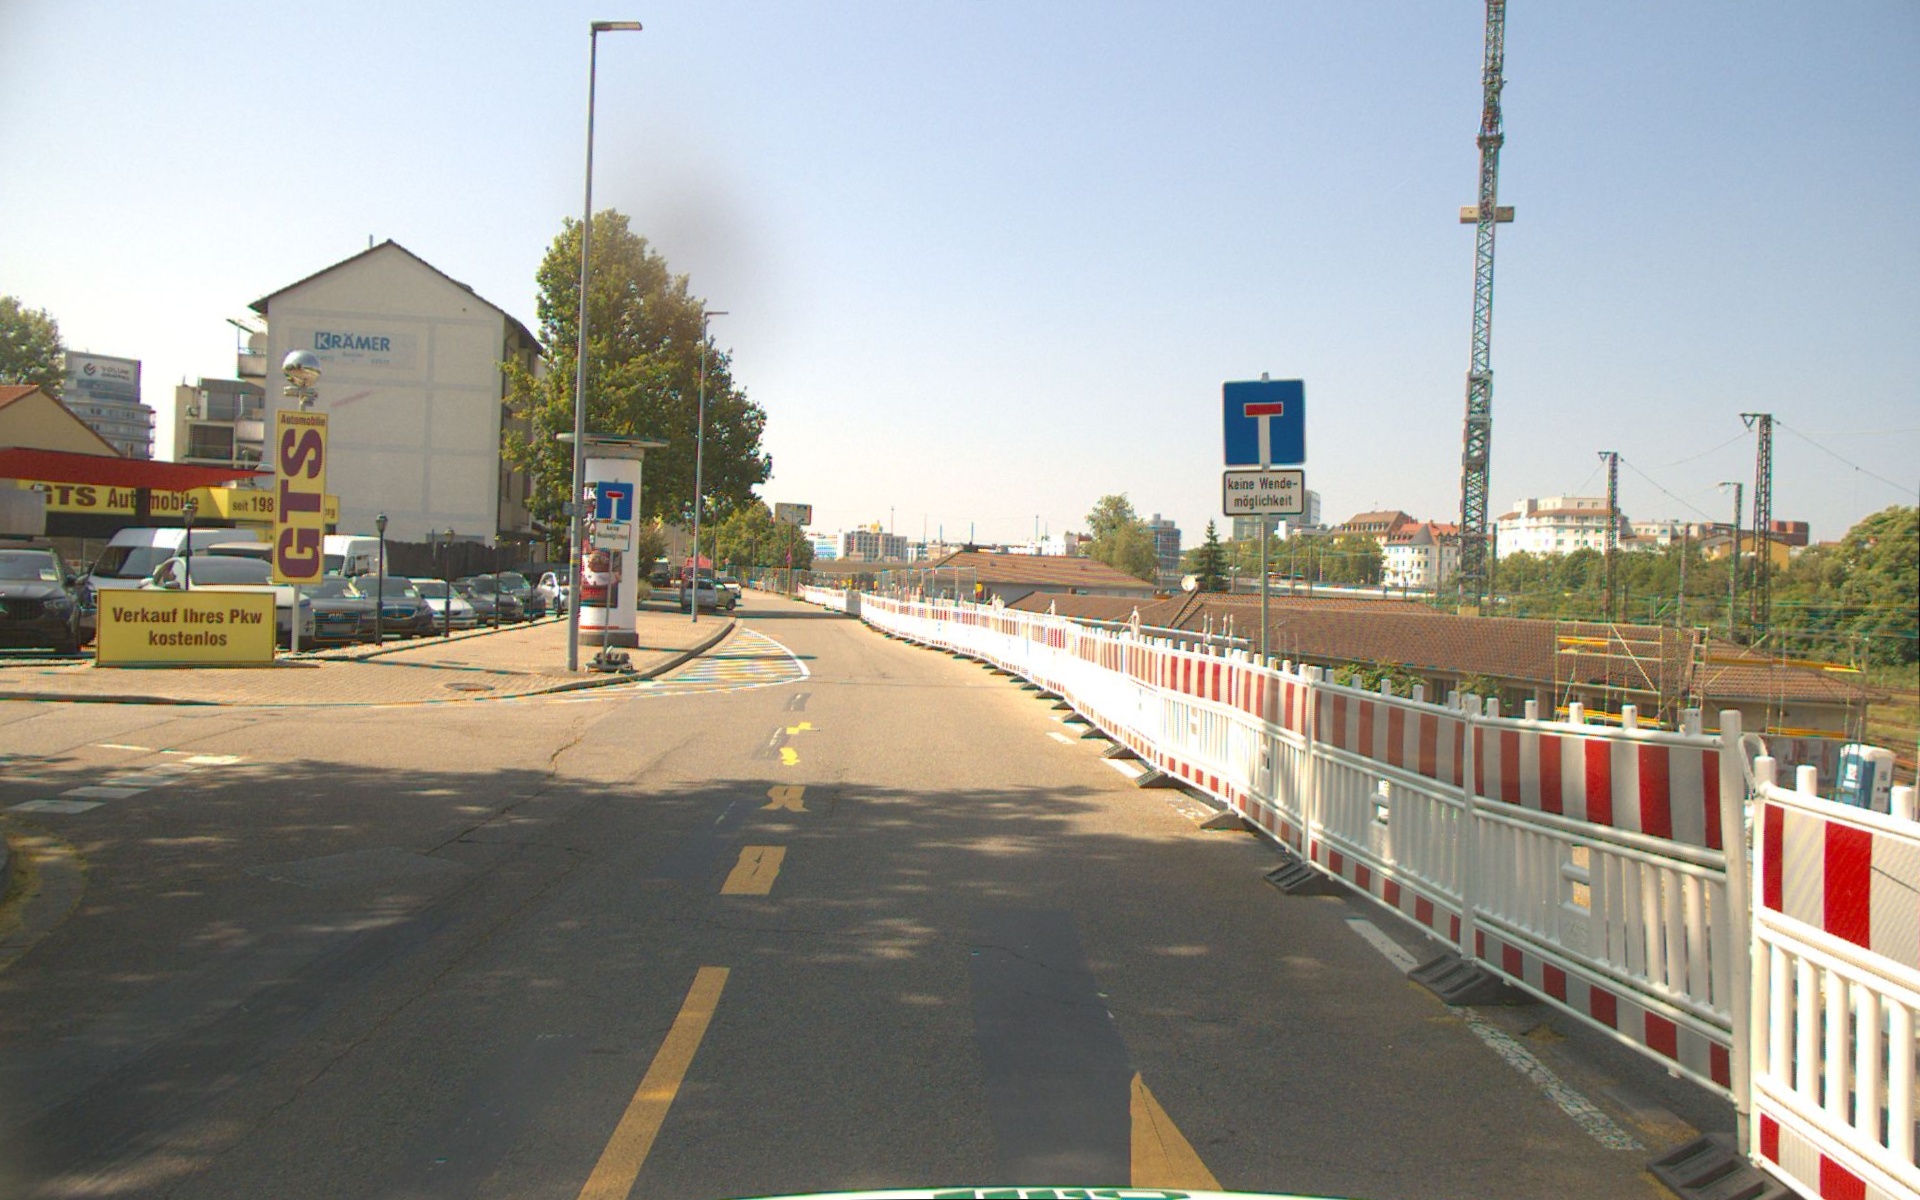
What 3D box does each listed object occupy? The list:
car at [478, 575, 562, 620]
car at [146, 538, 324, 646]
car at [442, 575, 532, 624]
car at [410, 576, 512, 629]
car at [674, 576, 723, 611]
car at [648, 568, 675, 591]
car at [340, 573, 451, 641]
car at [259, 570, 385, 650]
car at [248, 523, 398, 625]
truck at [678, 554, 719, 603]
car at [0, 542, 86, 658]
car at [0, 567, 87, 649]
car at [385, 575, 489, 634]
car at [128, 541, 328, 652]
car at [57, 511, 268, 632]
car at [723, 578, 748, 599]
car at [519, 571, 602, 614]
[{"bbox_3d":[-15.434,-0.110,57.893,1.652,1.498,3.952,-1,1,-34],"label":"car"},{"bbox_3d":[-17.212,-0.150,39.581,2.201,2.391,4.821,1,-1,-2],"label":"car"},{"bbox_3d":[-15.244,-0.047,53.208,1.652,1.498,3.953,-1,1,-34],"label":"car"},{"bbox_3d":[-14.726,0.044,48.681,1.654,1.498,3.948,-1,1,-36],"label":"car"},{"bbox_3d":[-12.198,-0.312,77.233,1.832,1.524,4.029,1,1,-3],"label":"car"},{"bbox_3d":[-27.512,-1.893,152.628,1.899,1.866,3.920,5,-1,-4],"label":"car"},{"bbox_3d":[-13.443,0.133,39.275,1.816,1.498,3.961,-1,1,-29],"label":"car"},{"bbox_3d":[-12.978,0.162,33.522,1.816,1.498,3.961,-1,1,-29],"label":"car"},{"bbox_3d":[-17.557,-0.644,45.926,2.203,2.472,5.712,5,-1,-5],"label":"car"},{"bbox_3d":[-15.211,-1.209,96.421,2.196,2.694,5.671,2,0,-8],"label":"truck"},{"bbox_3d":[-15.280,0.018,26.705,2.020,1.737,4.274,1,-1,-28],"label":"car"},{"bbox_3d":[-19.952,0.140,33.276,1.868,1.602,4.691,2,1,7],"label":"car"},{"bbox_3d":[-14.104,0.103,44.504,1.762,1.498,3.957,-1,1,-32],"label":"car"},{"bbox_3d":[-12.766,-0.009,28.704,1.964,1.737,4.595,0,-2,-40],"label":"car"},{"bbox_3d":[-20.034,-0.655,41.958,2.230,2.806,6.153,1,0,1],"label":"car"},{"bbox_3d":[-16.114,-0.796,118.526,1.685,1.440,4.070,2,0,-8],"label":"car"},{"bbox_3d":[-14.855,-0.296,61.398,1.761,1.498,3.953,-1,1,-34],"label":"car"}]
